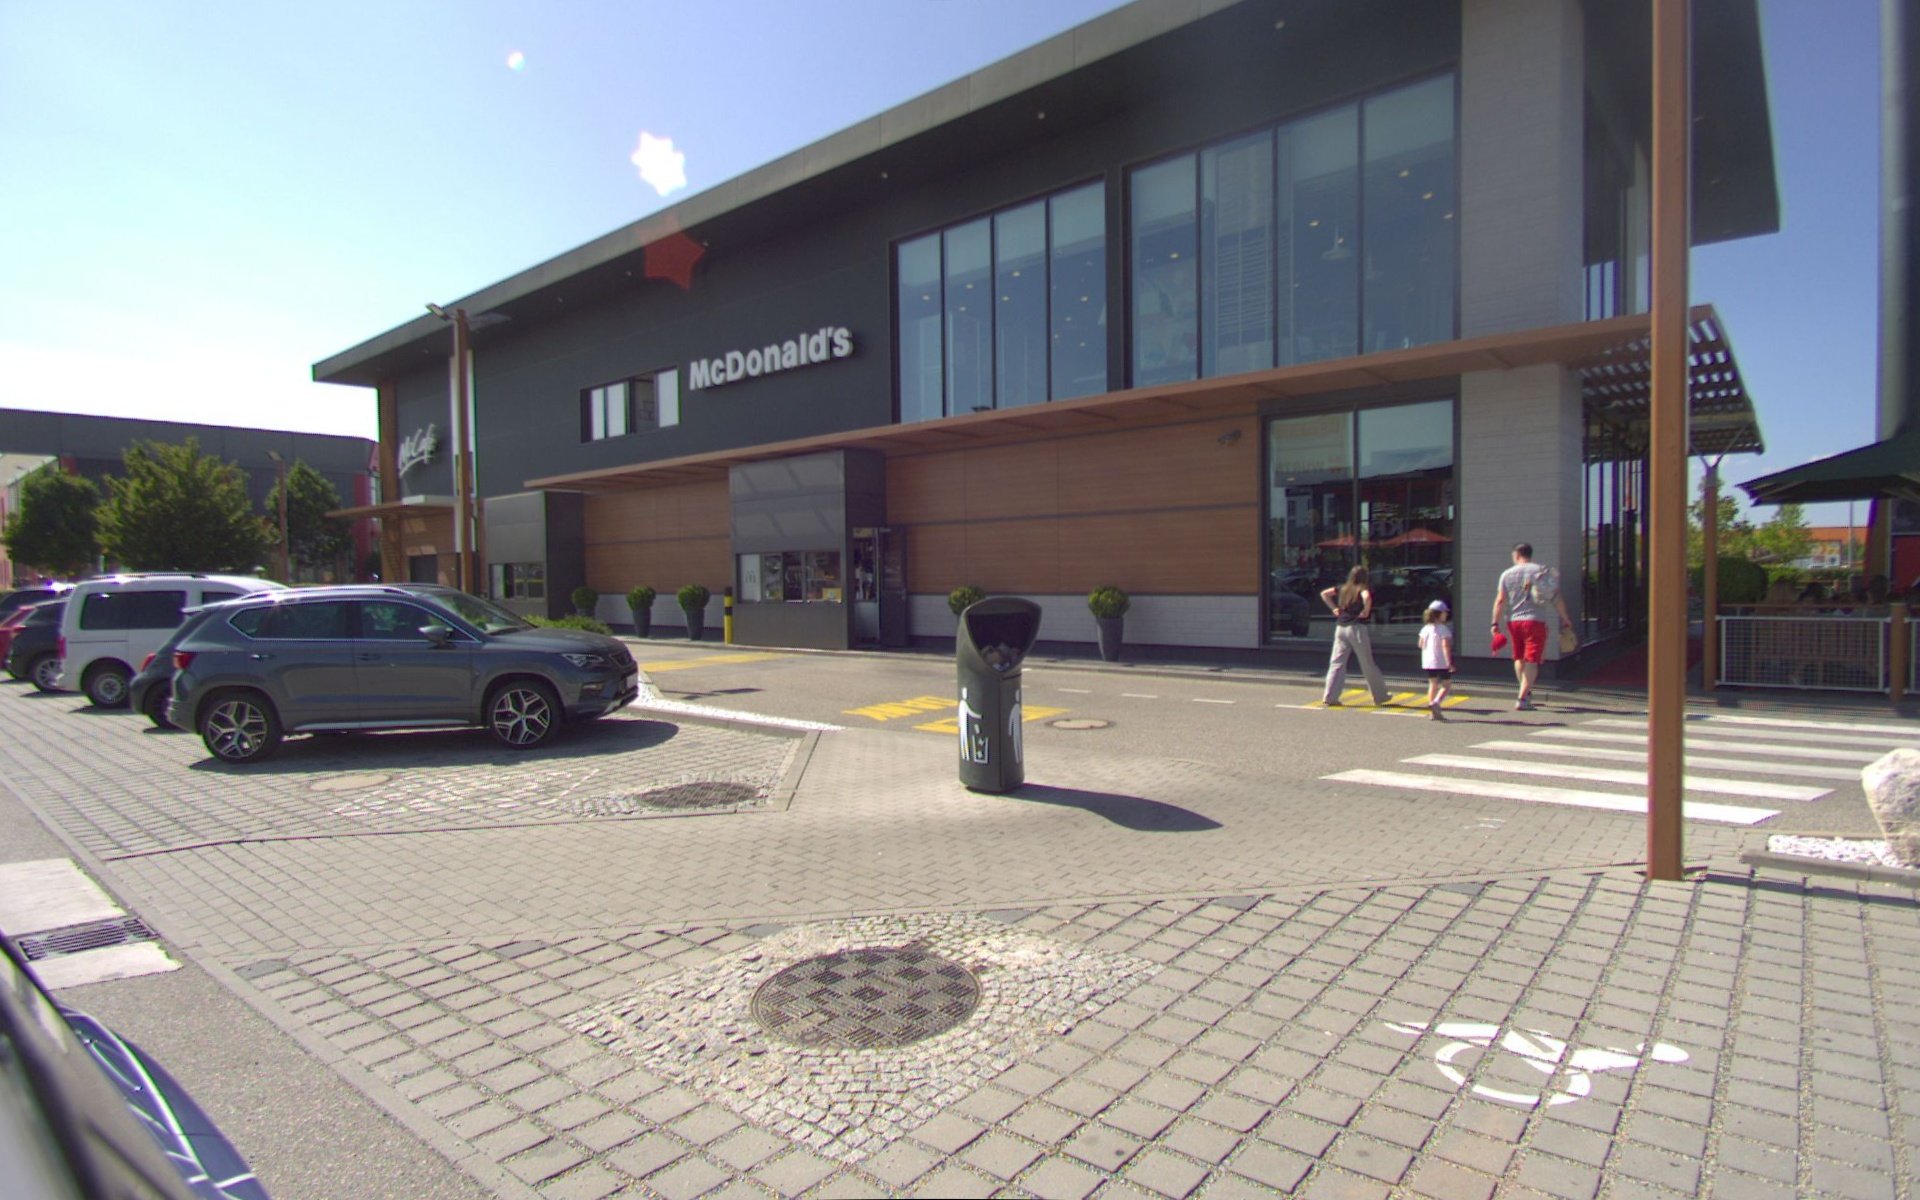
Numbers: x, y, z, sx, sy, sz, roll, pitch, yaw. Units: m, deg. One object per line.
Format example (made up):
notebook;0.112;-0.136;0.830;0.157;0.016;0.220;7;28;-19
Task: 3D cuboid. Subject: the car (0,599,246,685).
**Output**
car;-16.371;0.767;19.698;3.707;1.454;1.680;-2;1;-21

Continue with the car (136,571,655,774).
car;-5.447;0.638;10.260;4.164;1.615;1.793;-3;3;-4

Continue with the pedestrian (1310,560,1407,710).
pedestrian;4.453;0.369;11.313;0.717;1.595;0.743;-1;1;-40

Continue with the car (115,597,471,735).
car;-8.159;0.749;12.673;3.359;1.493;1.572;-1;1;-12

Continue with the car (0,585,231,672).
car;-18.521;0.576;22.000;3.971;1.718;1.680;-2;1;-15

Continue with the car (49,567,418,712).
car;-10.566;0.520;15.036;4.078;1.936;1.762;-1;1;-10

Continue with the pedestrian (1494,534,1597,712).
pedestrian;6.179;0.223;10.686;0.894;1.781;0.794;-1;1;32

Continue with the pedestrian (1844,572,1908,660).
pedestrian;11.941;0.201;13.203;0.573;1.109;0.648;-1;1;39

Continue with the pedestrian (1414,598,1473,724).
pedestrian;4.780;0.580;9.994;0.447;1.195;0.486;-1;1;34

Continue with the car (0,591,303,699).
car;-13.699;0.700;17.282;3.779;1.644;1.763;-1;1;-16

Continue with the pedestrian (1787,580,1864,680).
pedestrian;10.129;0.341;11.862;0.633;1.132;0.518;-1;1;37

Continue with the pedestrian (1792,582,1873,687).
pedestrian;9.675;0.369;11.244;0.633;1.132;0.518;-1;1;37
